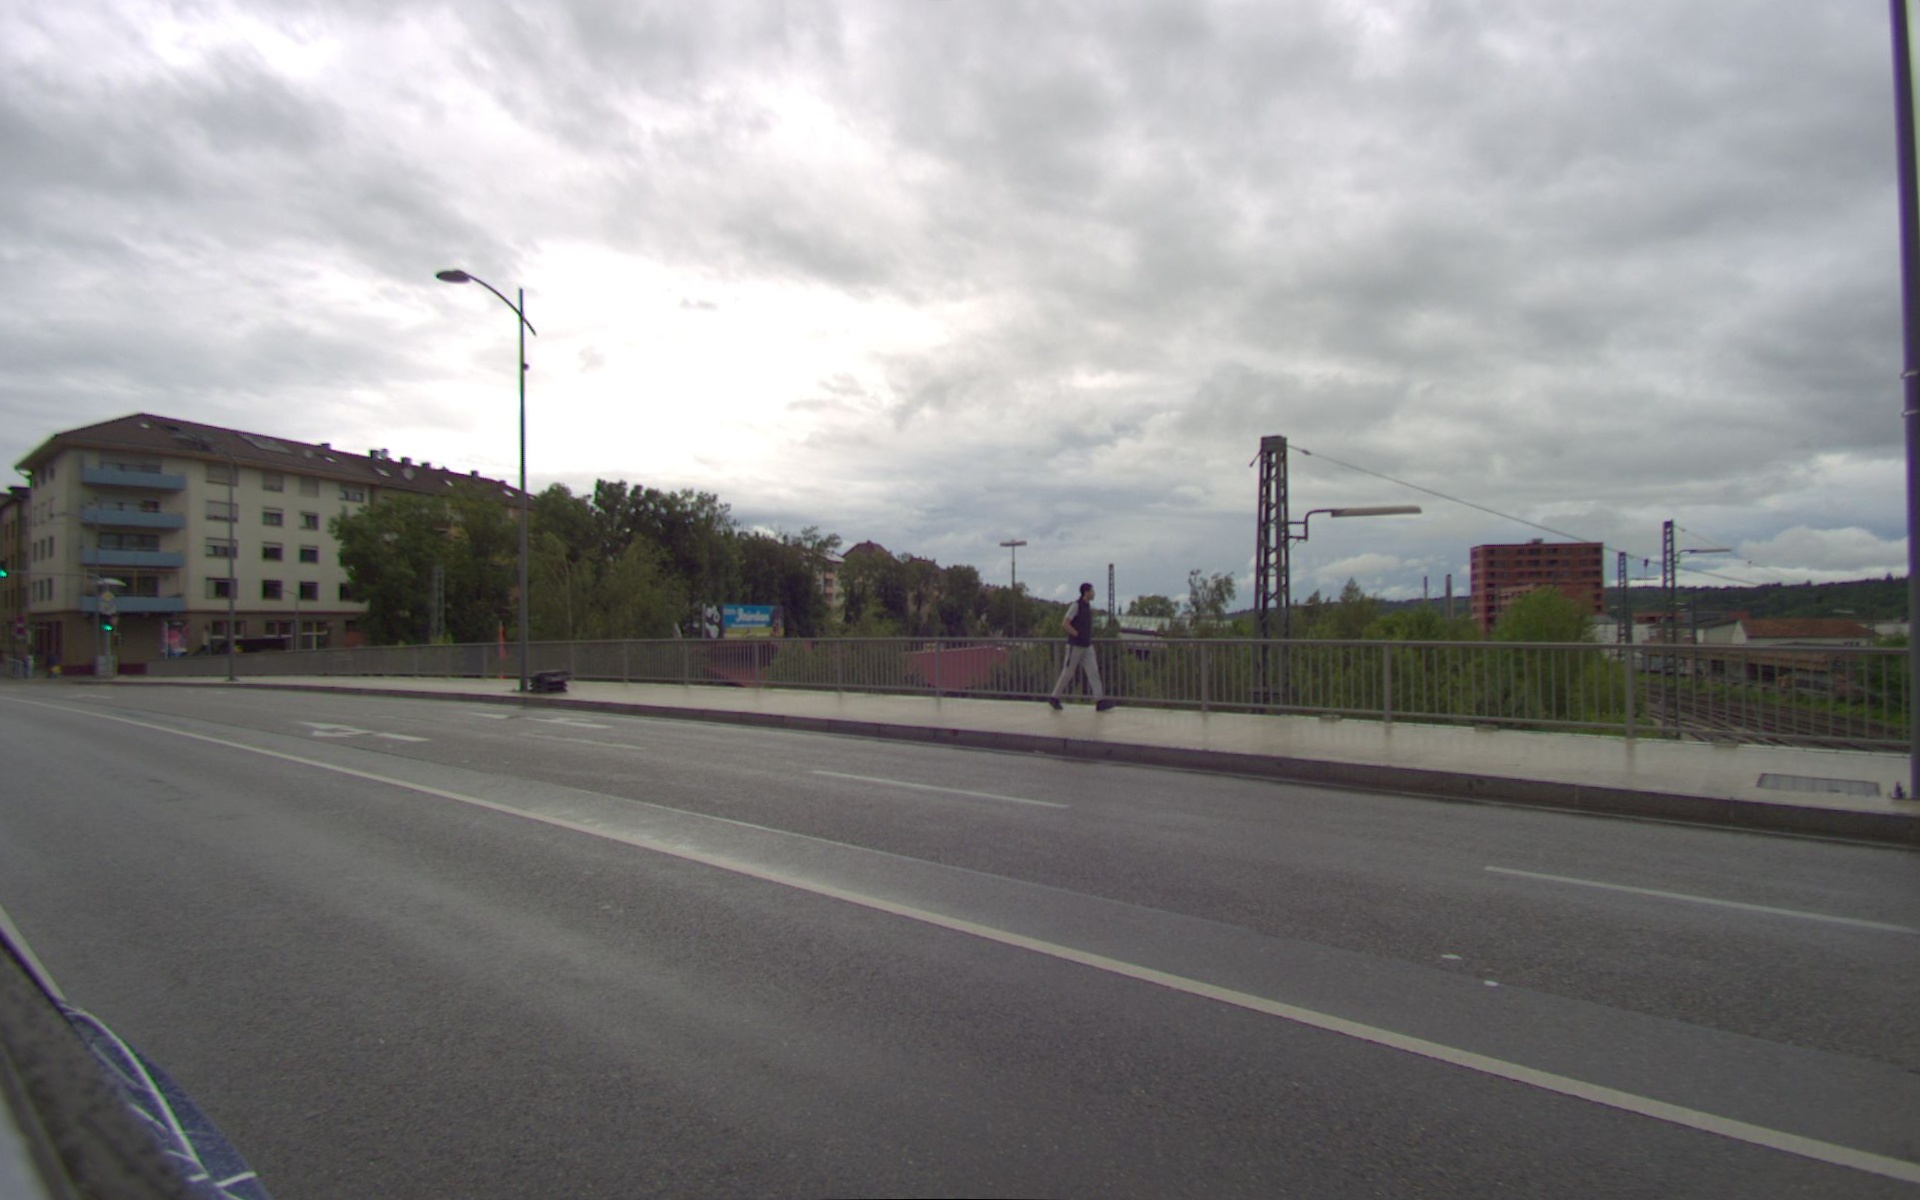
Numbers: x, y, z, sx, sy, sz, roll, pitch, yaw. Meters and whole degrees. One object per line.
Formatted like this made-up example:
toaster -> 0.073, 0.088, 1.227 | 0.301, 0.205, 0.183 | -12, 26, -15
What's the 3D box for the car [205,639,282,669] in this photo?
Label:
car -> -53.519, 4.027, 75.664 | 2.119, 2.029, 4.326 | -2, -1, 20
